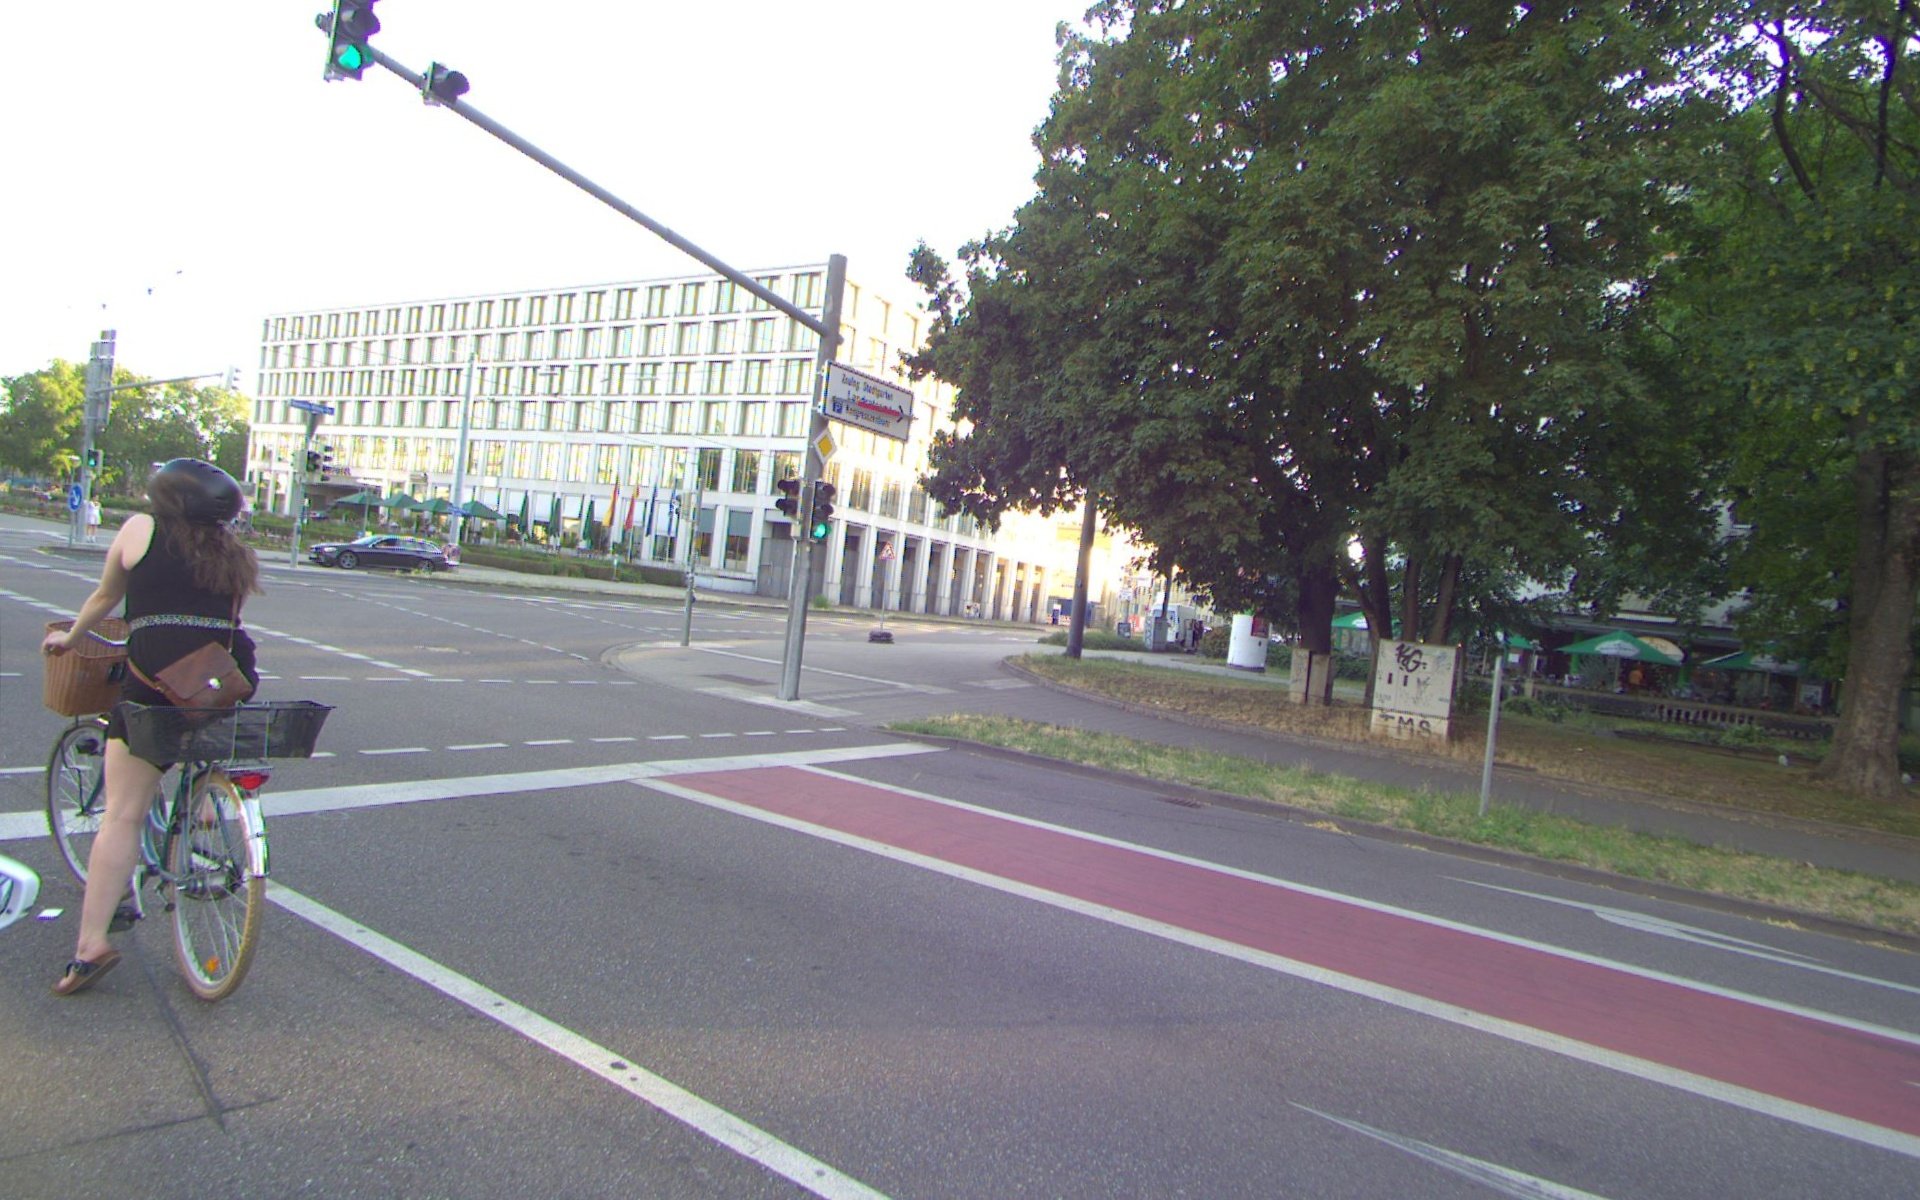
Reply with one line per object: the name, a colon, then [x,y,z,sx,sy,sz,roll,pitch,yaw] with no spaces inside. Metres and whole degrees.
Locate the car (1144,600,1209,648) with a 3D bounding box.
car: [12.009,1.360,55.517,1.967,2.318,4.605,6,0,31]

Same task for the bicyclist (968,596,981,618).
bicyclist: [1.122,0.555,76.780,0.567,1.556,0.708,7,1,29]

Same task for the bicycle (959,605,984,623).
bicycle: [0.895,1.070,76.488,0.592,1.120,2.775,7,0,29]

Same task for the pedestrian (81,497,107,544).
pedestrian: [-30.201,-2.757,35.068,0.402,1.559,0.491,7,2,31]

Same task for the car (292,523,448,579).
car: [-23.025,-1.892,39.456,1.968,1.534,4.826,7,0,34]

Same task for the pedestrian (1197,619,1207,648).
pedestrian: [13.400,1.860,55.655,0.302,1.525,0.336,7,-1,31]

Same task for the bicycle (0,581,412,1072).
bicycle: [-2.796,0.612,3.451,1.971,1.146,0.612,7,-1,32]

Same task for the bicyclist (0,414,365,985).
bicyclist: [-2.691,0.266,3.417,0.982,1.655,0.600,7,0,32]
